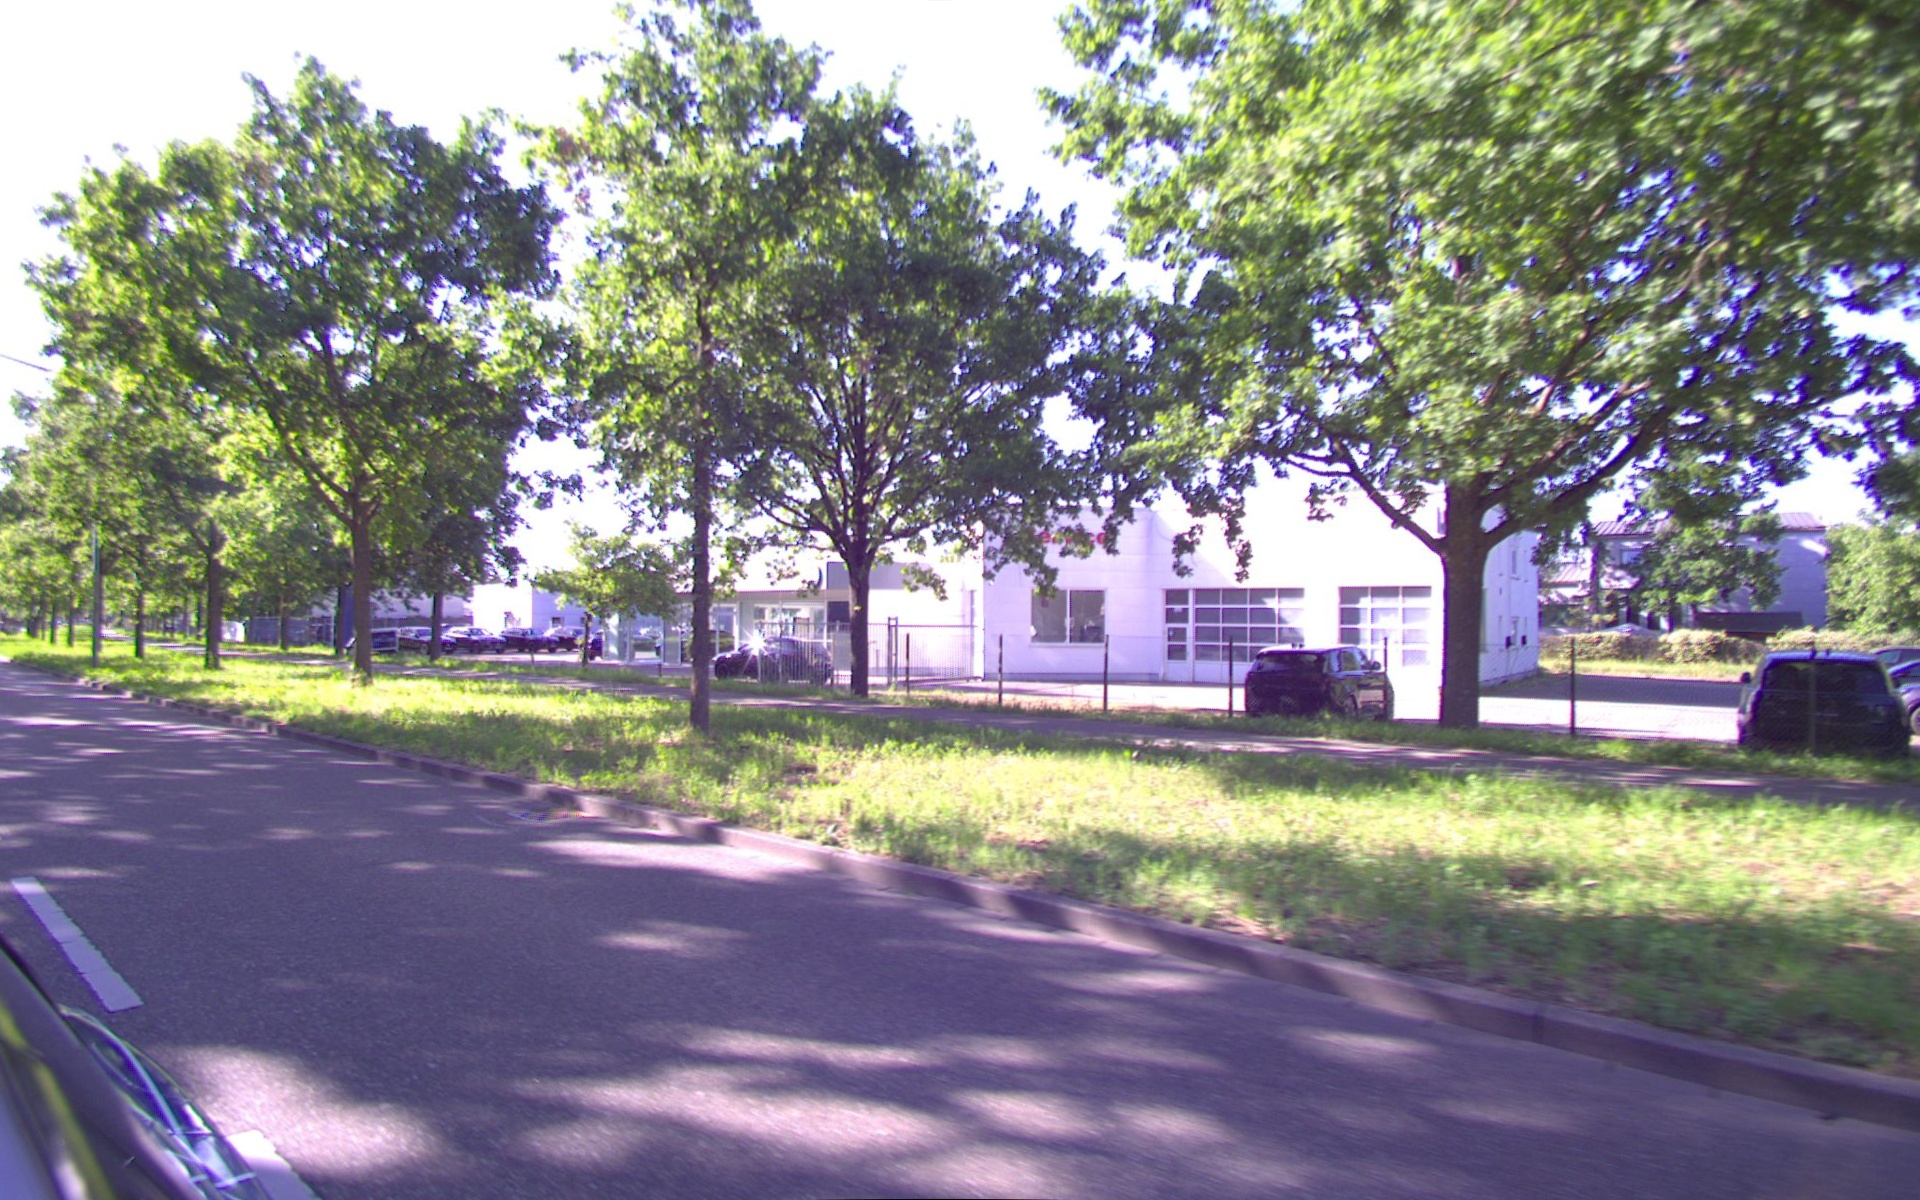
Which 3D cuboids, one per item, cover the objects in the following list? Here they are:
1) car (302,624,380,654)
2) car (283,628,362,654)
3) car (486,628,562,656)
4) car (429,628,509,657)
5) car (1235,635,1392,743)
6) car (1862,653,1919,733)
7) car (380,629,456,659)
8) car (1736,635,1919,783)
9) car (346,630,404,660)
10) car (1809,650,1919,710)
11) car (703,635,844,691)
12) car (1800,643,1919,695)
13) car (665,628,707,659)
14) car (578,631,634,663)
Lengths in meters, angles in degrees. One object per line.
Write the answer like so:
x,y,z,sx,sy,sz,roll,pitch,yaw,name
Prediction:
-39.804,2.492,65.097,3.940,1.755,2.002,-1,0,-43,car
-43.550,2.780,69.181,4.261,1.530,1.863,-1,0,-44,car
-28.838,2.748,66.914,5.241,1.702,1.979,-1,0,31,car
-31.345,2.674,64.529,5.237,1.730,1.980,-1,0,30,car
7.259,1.692,20.569,1.996,1.815,3.952,-1,0,35,car
22.359,2.005,21.271,4.876,1.578,1.975,-1,0,37,car
-33.357,2.691,62.320,4.478,1.688,1.981,-1,0,28,car
13.337,1.531,15.710,1.997,1.815,4.151,-1,0,37,car
-30.014,2.291,51.964,2.531,1.481,1.430,1,-2,-30,car
28.032,2.326,29.492,4.876,1.578,1.975,-1,0,37,car
-6.273,2.028,33.616,5.014,1.610,1.972,-1,0,42,car
31.954,2.344,34.621,4.884,1.578,1.972,-1,0,43,car
-16.096,2.541,59.233,1.965,1.673,5.025,0,-2,-19,car
-19.717,2.603,56.581,1.968,1.673,5.269,-1,-2,-8,car
